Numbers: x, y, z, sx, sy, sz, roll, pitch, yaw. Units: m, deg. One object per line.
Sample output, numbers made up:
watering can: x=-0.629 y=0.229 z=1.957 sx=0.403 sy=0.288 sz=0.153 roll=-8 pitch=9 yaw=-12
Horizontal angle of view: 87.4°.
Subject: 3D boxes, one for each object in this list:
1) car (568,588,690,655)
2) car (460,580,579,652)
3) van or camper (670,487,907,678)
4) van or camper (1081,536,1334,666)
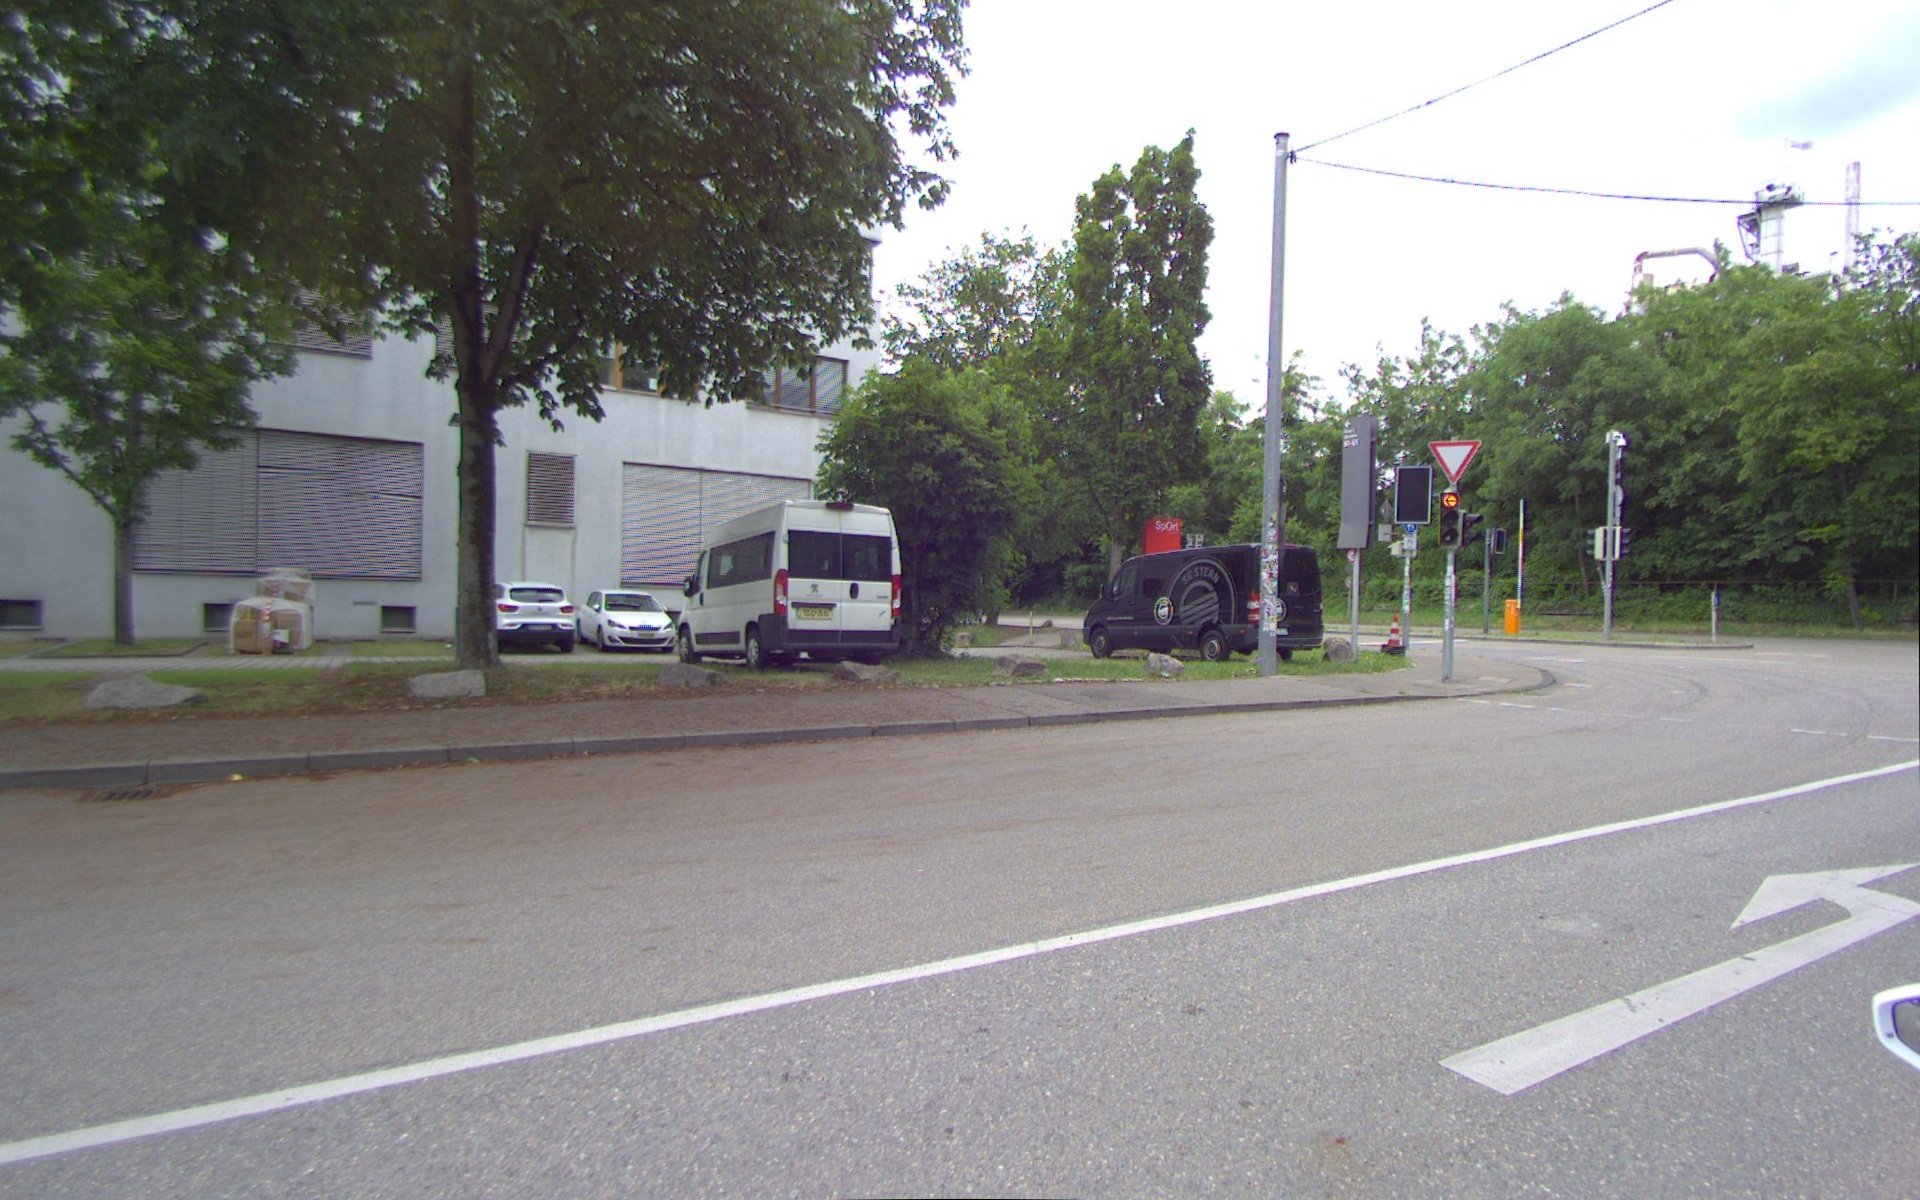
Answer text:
car: x=-8.499 y=0.510 z=25.589 sx=1.881 sy=1.475 sz=3.972 roll=3 pitch=0 yaw=-34
car: x=-10.581 y=0.341 z=23.980 sx=1.881 sy=1.475 sz=3.972 roll=3 pitch=0 yaw=-34
van or camper: x=-2.989 y=-0.259 z=16.418 sx=2.039 sy=2.604 sz=4.943 roll=3 pitch=0 yaw=-32
van or camper: x=5.003 y=0.110 z=21.259 sx=2.036 sy=2.343 sz=5.513 roll=3 pitch=-3 yaw=-28
